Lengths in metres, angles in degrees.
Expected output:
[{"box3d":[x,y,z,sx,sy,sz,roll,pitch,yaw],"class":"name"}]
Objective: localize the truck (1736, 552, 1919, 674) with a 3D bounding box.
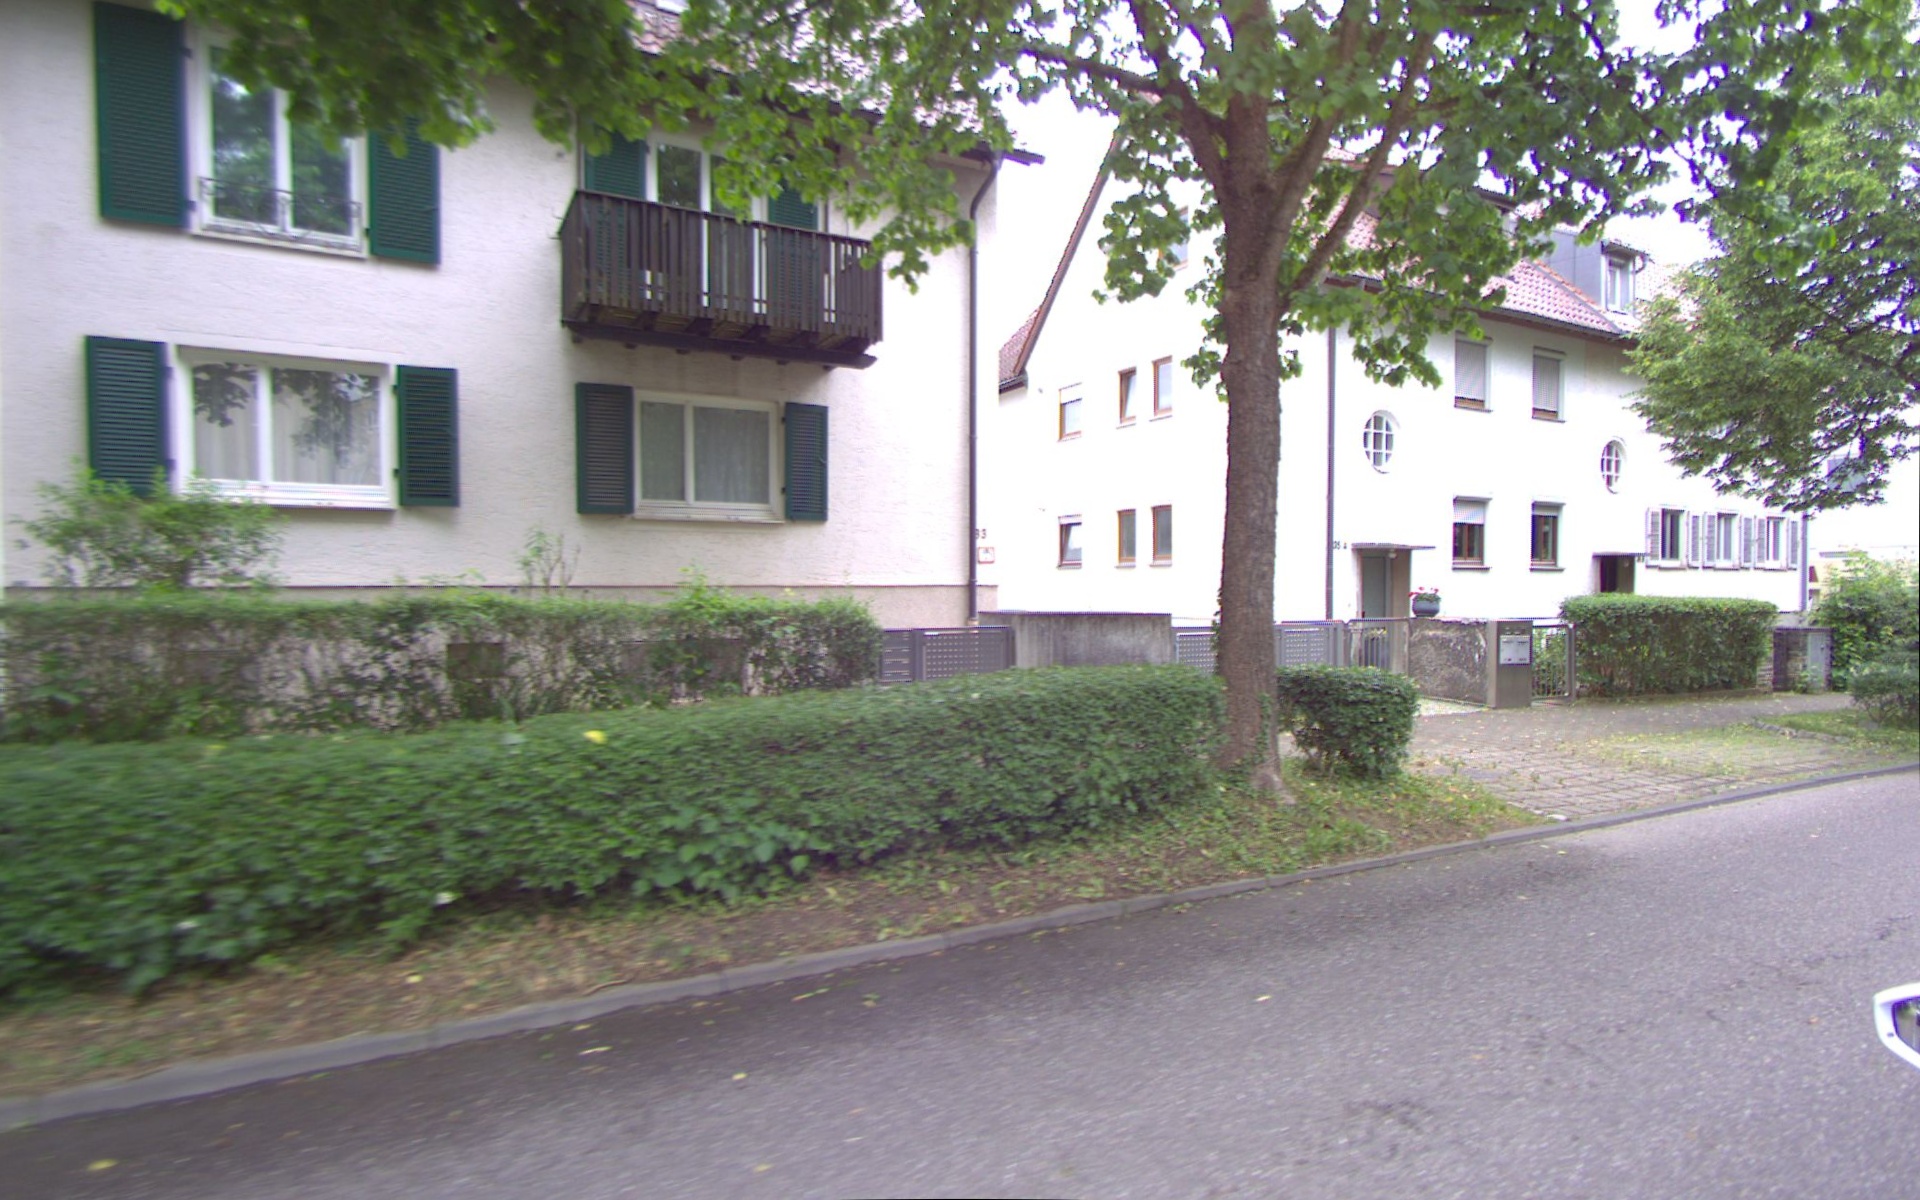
[{"box3d":[25.429,0.339,27.780,2.488,3.173,5.768,1,0,-30],"class":"truck"}]
